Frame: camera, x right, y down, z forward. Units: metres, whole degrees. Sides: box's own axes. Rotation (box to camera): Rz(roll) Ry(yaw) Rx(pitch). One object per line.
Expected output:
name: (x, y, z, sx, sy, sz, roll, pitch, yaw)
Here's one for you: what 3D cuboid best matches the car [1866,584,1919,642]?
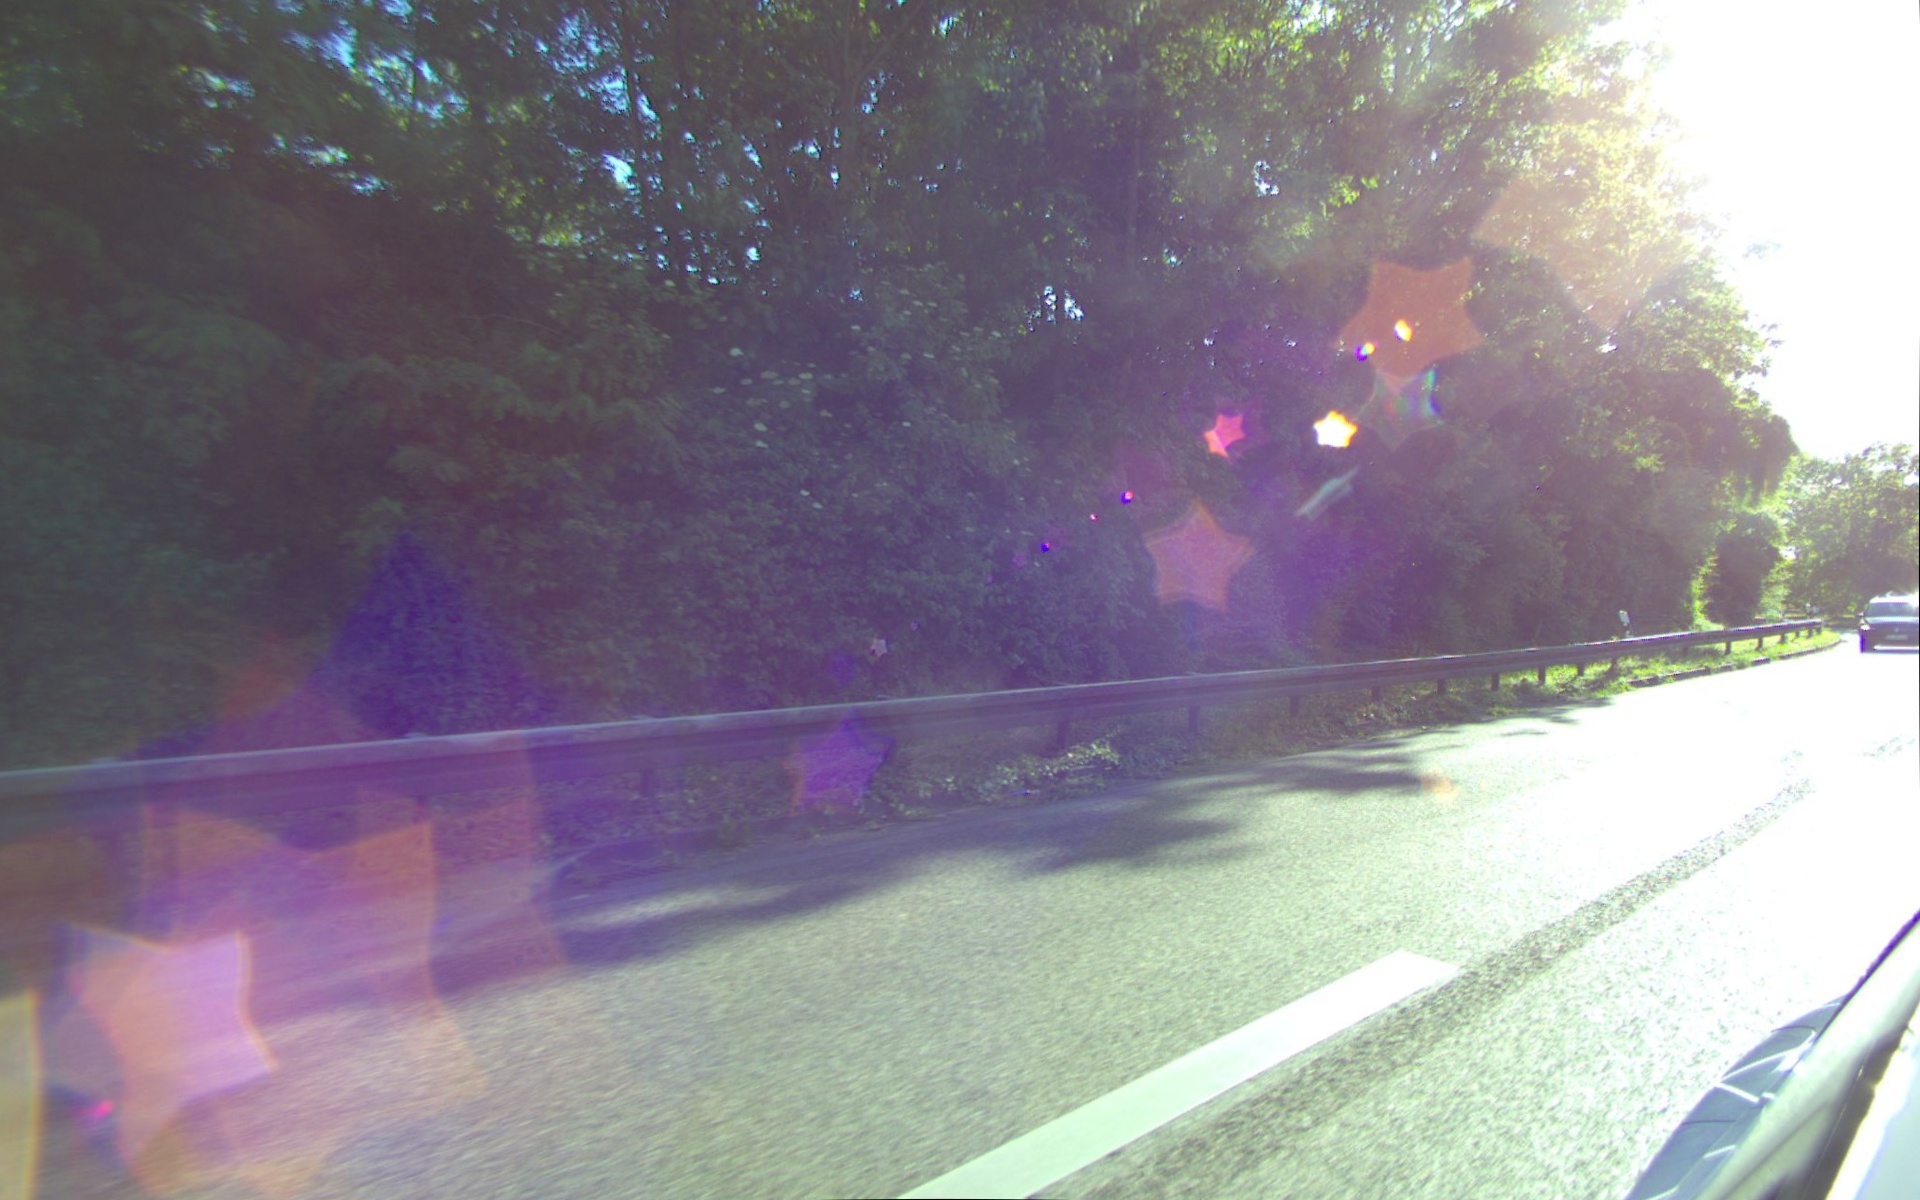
car: (28.914, 0.399, 30.734, 3.932, 1.684, 1.743, 1, -2, -43)
